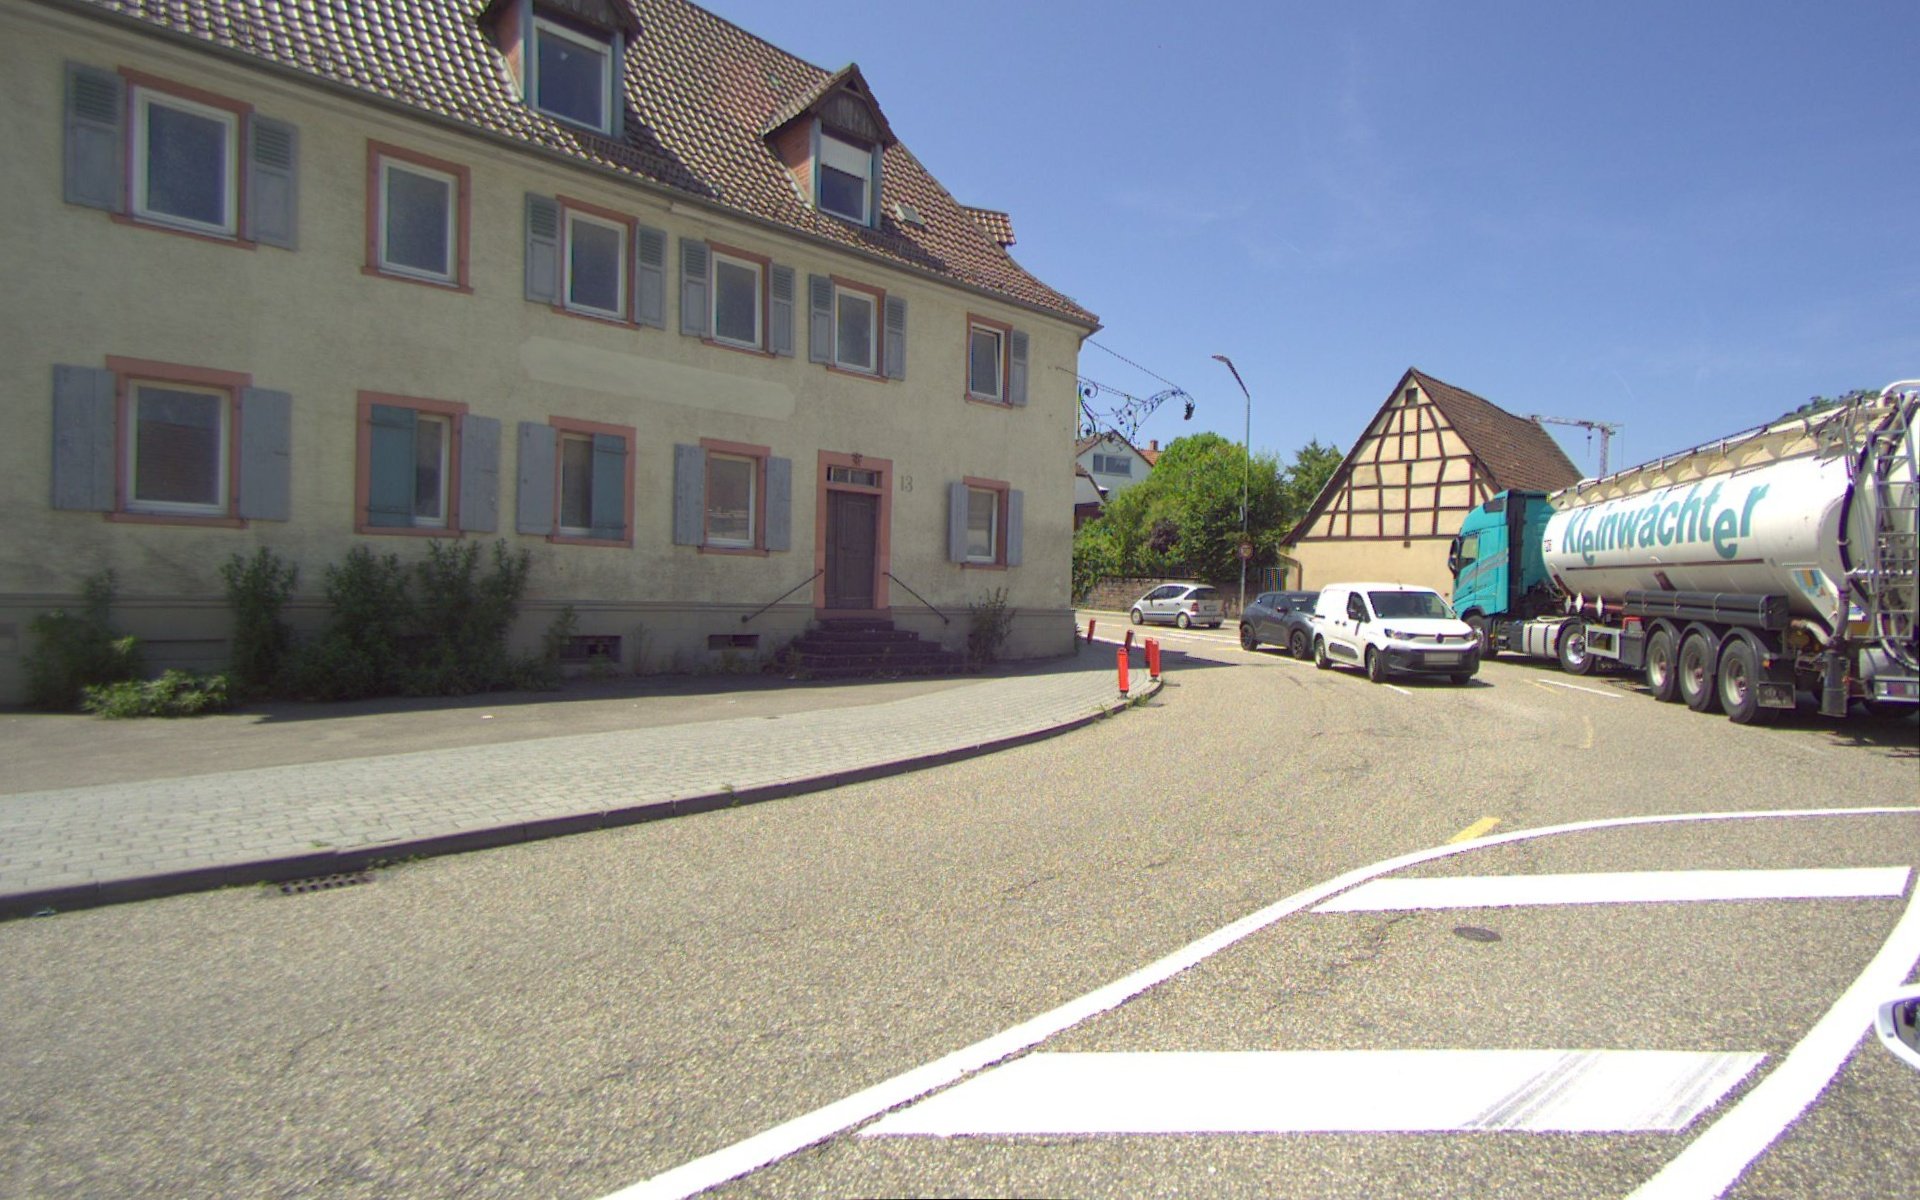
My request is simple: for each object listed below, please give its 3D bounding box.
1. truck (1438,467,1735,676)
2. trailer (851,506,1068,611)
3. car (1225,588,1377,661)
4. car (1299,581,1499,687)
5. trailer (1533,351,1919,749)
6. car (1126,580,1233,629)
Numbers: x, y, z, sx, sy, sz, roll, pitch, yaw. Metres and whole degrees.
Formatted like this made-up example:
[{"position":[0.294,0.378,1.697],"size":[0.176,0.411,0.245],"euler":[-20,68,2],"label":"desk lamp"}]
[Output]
[{"position":[13.678,-0.594,22.579],"size":[2.939,4.018,5.577],"euler":[2,1,-2],"label":"truck"},{"position":[-0.428,-1.957,47.770],"size":[3.116,4.334,12.350],"euler":[1,1,-39],"label":"trailer"},{"position":[8.432,0.553,25.240],"size":[1.767,1.544,3.990],"euler":[2,2,-12],"label":"car"},{"position":[8.401,0.554,19.742],"size":[1.843,1.809,4.520],"euler":[1,1,-1],"label":"car"},{"position":[12.070,-0.527,15.481],"size":[2.903,4.001,11.620],"euler":[3,1,17],"label":"trailer"},{"position":[7.747,0.139,35.750],"size":[1.767,1.606,3.577],"euler":[2,0,-30],"label":"car"}]
